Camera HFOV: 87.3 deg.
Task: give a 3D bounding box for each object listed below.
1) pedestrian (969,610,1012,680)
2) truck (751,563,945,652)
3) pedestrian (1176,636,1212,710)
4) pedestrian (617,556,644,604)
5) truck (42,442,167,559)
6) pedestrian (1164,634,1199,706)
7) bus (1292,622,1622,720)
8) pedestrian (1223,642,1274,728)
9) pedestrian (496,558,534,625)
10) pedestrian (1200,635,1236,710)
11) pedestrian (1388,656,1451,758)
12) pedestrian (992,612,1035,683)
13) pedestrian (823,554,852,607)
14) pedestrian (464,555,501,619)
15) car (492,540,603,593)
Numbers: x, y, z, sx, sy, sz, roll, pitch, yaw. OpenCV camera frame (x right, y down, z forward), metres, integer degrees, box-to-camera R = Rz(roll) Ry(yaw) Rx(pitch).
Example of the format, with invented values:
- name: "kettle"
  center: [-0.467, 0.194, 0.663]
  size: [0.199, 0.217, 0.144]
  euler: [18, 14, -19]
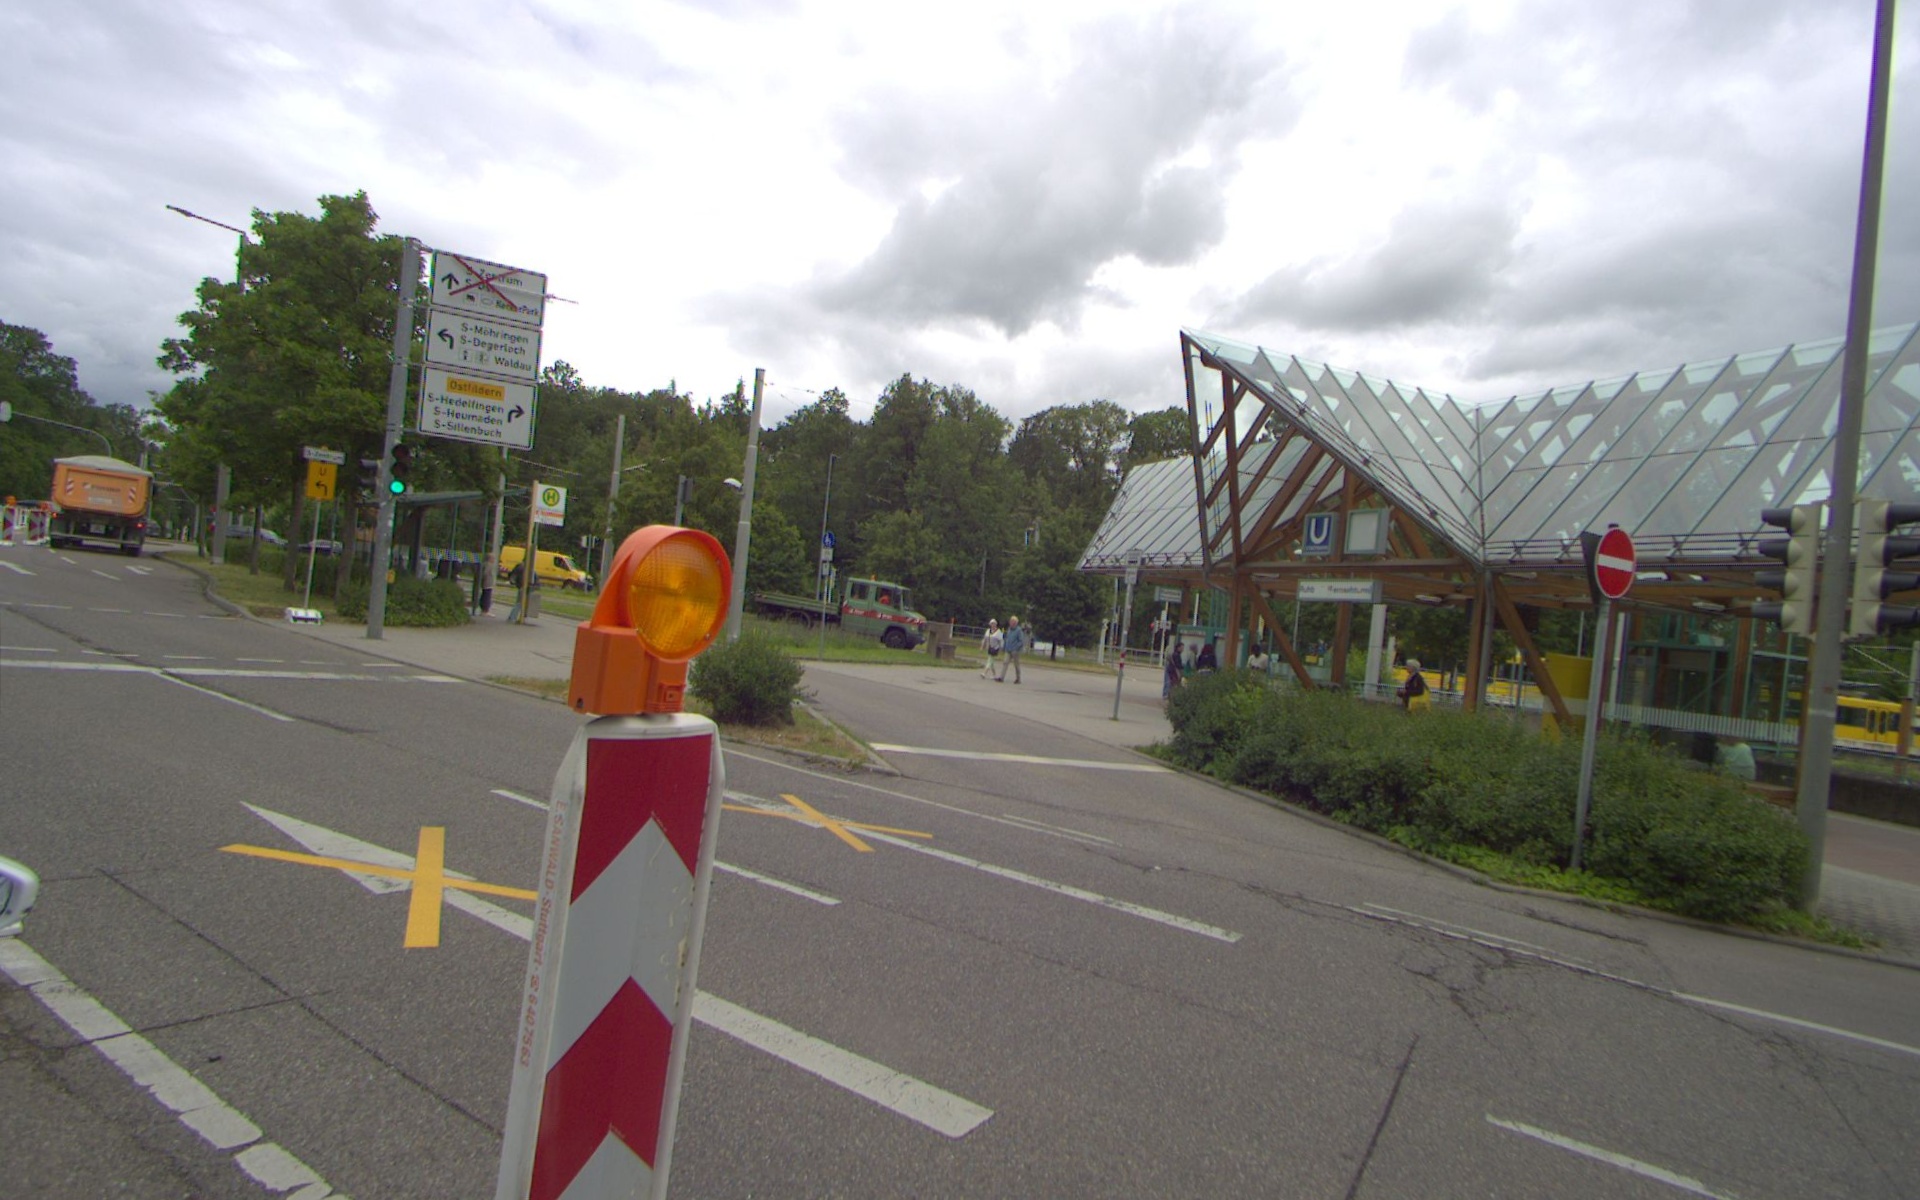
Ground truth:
- name: "pedestrian"
  center: [0.831, 1.223, 27.363]
  size: [0.664, 1.778, 0.728]
  euler: [8, -2, -44]
- name: "truck"
  center: [-4.042, 0.286, 36.767]
  size: [6.418, 2.379, 2.410]
  euler: [7, -2, 10]
- name: "pedestrian"
  center: [5.862, 1.825, 25.191]
  size: [0.589, 1.778, 0.668]
  euler: [6, -1, 22]
- name: "pedestrian"
  center: [-16.884, -1.015, 51.506]
  size: [0.846, 2.321, 0.617]
  euler: [6, -1, 17]
- name: "truck"
  center: [-31.734, -3.620, 37.603]
  size: [2.844, 3.558, 8.162]
  euler: [6, 0, -37]
- name: "pedestrian"
  center: [5.744, 1.801, 26.075]
  size: [0.655, 1.778, 0.562]
  euler: [7, -1, 9]
- name: "bus"
  center: [29.835, 4.253, 60.760]
  size: [18.247, 3.523, 3.979]
  euler: [7, -2, -5]
- name: "pedestrian"
  center: [6.311, 1.848, 21.990]
  size: [0.664, 1.778, 0.648]
  euler: [8, -2, -44]
- name: "pedestrian"
  center: [-10.829, -0.208, 24.490]
  size: [0.471, 1.534, 0.522]
  euler: [6, -1, 28]
- name: "pedestrian"
  center: [6.395, 1.800, 24.899]
  size: [0.589, 1.778, 0.668]
  euler: [6, -1, 22]
- name: "pedestrian"
  center: [8.546, 1.974, 18.739]
  size: [0.645, 1.778, 0.668]
  euler: [7, -1, -9]
- name: "pedestrian"
  center: [1.431, 1.275, 26.928]
  size: [0.727, 1.778, 0.665]
  euler: [6, -2, 45]
- name: "pedestrian"
  center: [-7.472, -1.185, 61.504]
  size: [1.093, 3.080, 1.027]
  euler: [6, -1, 17]
- name: "pedestrian"
  center: [-12.074, -0.323, 25.439]
  size: [0.471, 1.534, 0.522]
  euler: [6, -1, 28]
- name: "car"
  center: [-26.437, -2.120, 64.600]
  size: [6.035, 2.523, 2.001]
  euler: [7, -2, -1]
